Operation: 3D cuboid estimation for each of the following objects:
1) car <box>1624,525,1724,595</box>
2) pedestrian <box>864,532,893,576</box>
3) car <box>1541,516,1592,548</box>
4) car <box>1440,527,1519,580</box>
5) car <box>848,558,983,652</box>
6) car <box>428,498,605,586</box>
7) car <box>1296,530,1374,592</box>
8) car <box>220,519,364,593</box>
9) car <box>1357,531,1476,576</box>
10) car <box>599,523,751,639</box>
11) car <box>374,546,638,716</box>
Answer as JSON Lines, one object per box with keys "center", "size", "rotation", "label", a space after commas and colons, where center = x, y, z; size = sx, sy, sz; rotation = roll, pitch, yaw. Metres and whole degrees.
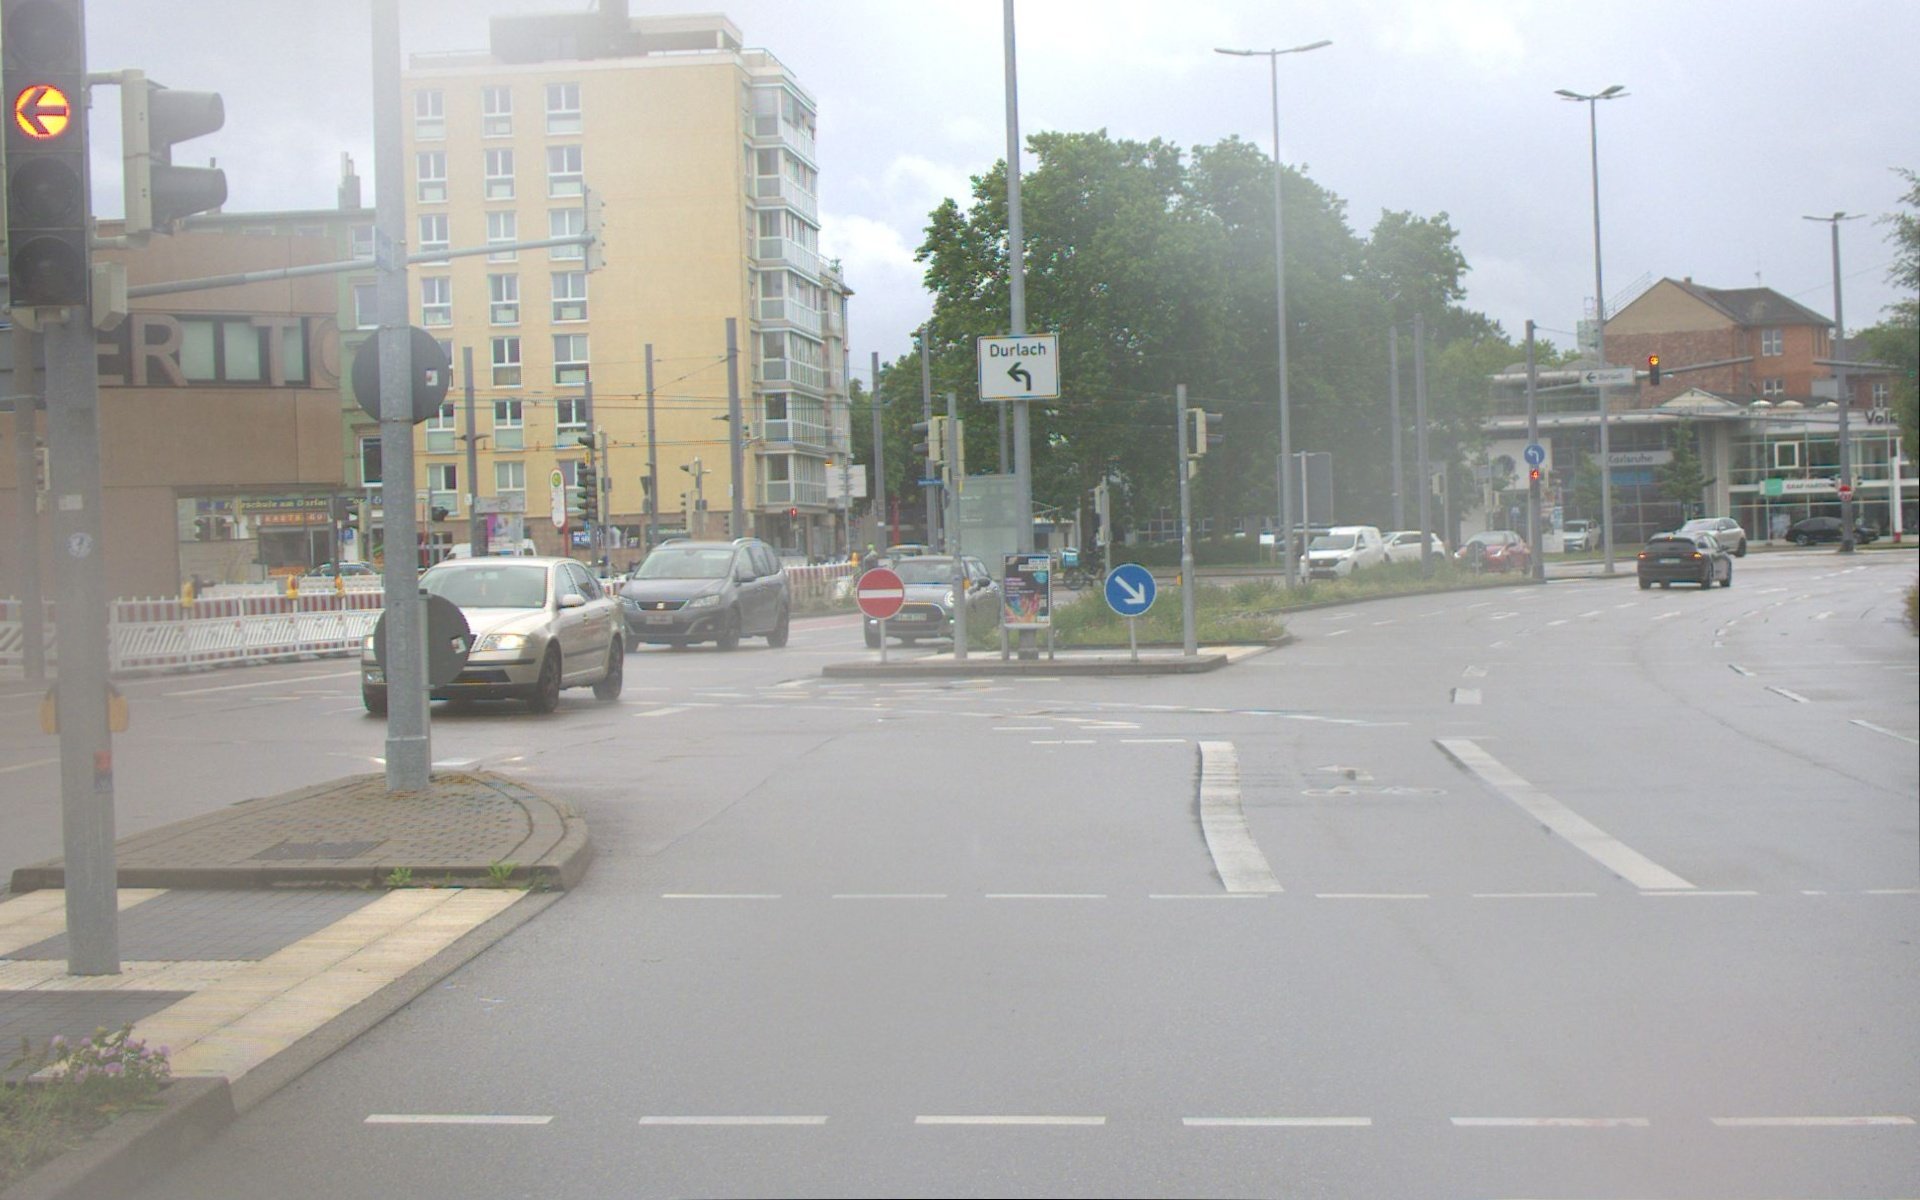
{"center": [18.059, -1.025, 86.831], "size": [1.792, 1.637, 4.155], "rotation": [-1, 1, 21], "label": "car"}
{"center": [-3.424, -1.943, 144.277], "size": [1.092, 1.807, 1.119], "rotation": [-2, 1, -4], "label": "pedestrian"}
{"center": [32.930, -3.707, 186.498], "size": [1.792, 1.637, 4.154], "rotation": [-1, 1, 23], "label": "car"}
{"center": [16.865, -1.522, 111.500], "size": [1.791, 1.637, 4.043], "rotation": [-1, 1, 19], "label": "car"}
{"center": [-0.679, 0.050, 55.222], "size": [1.772, 1.371, 4.120], "rotation": [-1, 1, 4], "label": "car"}
{"center": [-18.228, -2.391, 141.474], "size": [6.742, 3.368, 2.809], "rotation": [-2, 1, 2], "label": "car"}
{"center": [11.855, -1.258, 108.507], "size": [1.791, 1.852, 4.156], "rotation": [-1, 1, 15], "label": "car"}
{"center": [-27.598, -1.824, 142.118], "size": [5.351, 2.877, 2.339], "rotation": [-2, 1, 2], "label": "car"}
{"center": [17.954, -1.825, 135.171], "size": [4.382, 1.637, 1.796], "rotation": [-2, 1, -29], "label": "car"}
{"center": [-4.343, -0.326, 53.044], "size": [1.772, 1.673, 4.769], "rotation": [-1, 1, 2], "label": "car"}
{"center": [-4.254, 0.249, 32.833], "size": [1.694, 1.411, 4.183], "rotation": [-2, 2, 3], "label": "car"}
